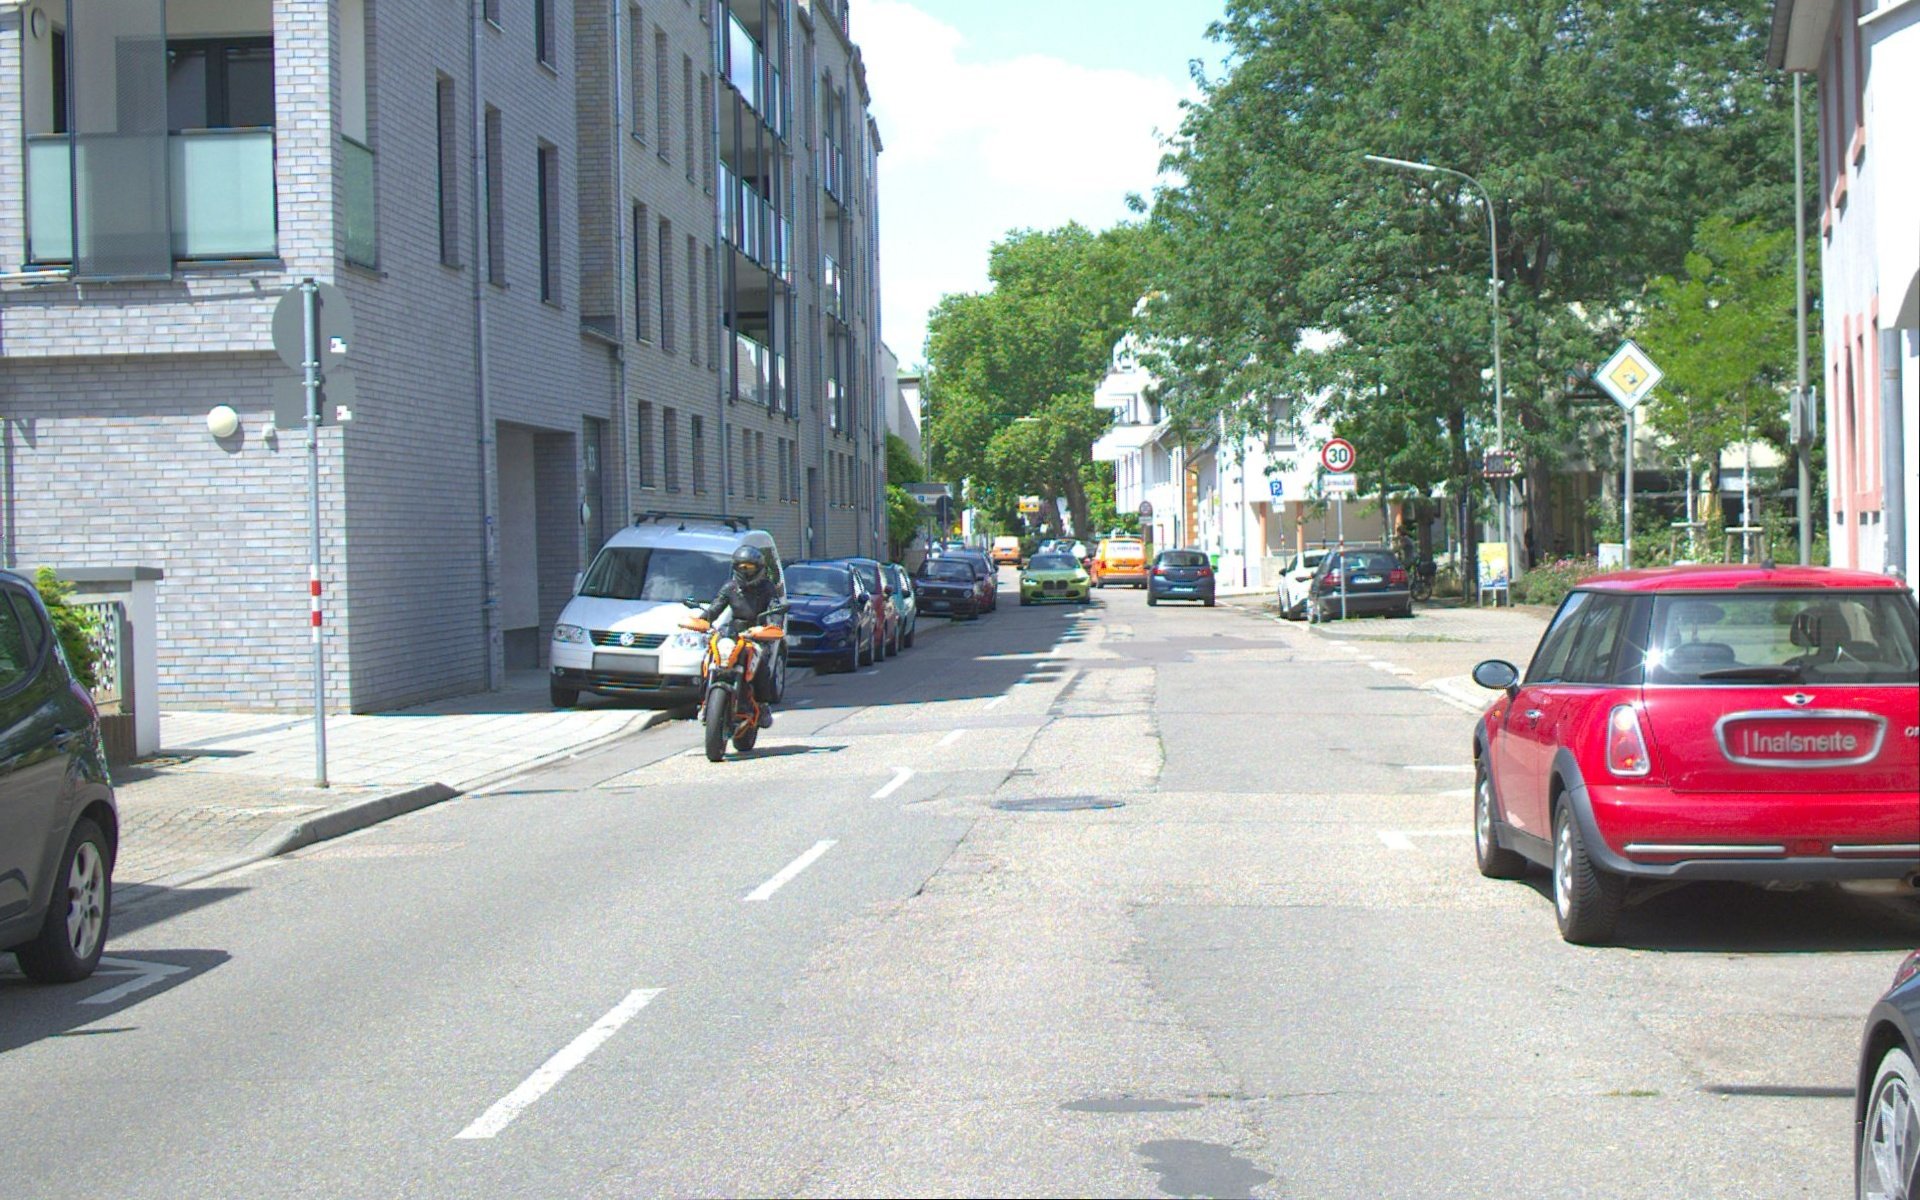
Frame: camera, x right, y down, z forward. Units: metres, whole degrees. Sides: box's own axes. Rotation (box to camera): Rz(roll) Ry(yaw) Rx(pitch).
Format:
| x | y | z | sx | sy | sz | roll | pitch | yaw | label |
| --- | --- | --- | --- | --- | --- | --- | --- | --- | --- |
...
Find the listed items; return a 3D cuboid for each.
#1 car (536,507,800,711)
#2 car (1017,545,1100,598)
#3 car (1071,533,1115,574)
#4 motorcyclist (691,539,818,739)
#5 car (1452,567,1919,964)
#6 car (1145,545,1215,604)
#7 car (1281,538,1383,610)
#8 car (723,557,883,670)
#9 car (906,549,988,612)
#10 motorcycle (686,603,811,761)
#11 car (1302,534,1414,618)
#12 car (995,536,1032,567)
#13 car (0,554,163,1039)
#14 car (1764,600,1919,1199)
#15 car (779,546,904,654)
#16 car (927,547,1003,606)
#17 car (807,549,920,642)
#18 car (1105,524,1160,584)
| x | y | z | sx | sy | sz | roll | pitch | yaw | label |
| --- | --- | --- | --- | --- | --- | --- | --- | --- | --- |
| -2.854 | 0.033 | 34.477 | 1.757 | 1.885 | 4.335 | 1 | 1 | 7 | car |
| 2.720 | -0.797 | 94.000 | 1.994 | 1.376 | 4.392 | 1 | 1 | 5 | car |
| 5.488 | -1.916 | 142.236 | 1.711 | 1.628 | 3.704 | -1 | 1 | 1 | car |
| -1.590 | 0.290 | 26.760 | 0.822 | 1.504 | 1.057 | -2 | 1 | 4 | motorcyclist |
| 3.071 | 0.584 | 14.220 | 1.618 | 1.381 | 3.539 | -1 | 1 | 1 | car |
| 5.655 | -0.677 | 88.480 | 1.715 | 1.397 | 4.000 | -1 | 1 | 3 | car |
| 7.627 | -0.551 | 70.793 | 1.779 | 1.415 | 4.000 | -1 | 1 | 2 | car |
| -2.094 | 0.149 | 46.925 | 1.723 | 1.451 | 4.005 | 0 | 1 | 4 | car |
| -0.287 | -0.490 | 82.152 | 1.732 | 1.437 | 4.000 | -1 | 1 | 2 | car |
| -1.629 | 0.616 | 26.743 | 0.688 | 1.118 | 2.027 | -2 | 1 | 4 | motorcycle |
| 7.436 | -0.471 | 64.498 | 1.692 | 1.415 | 4.000 | -4 | 1 | 2 | car |
| 3.584 | -3.248 | 228.276 | 2.157 | 2.007 | 4.000 | -1 | 1 | 4 | car |
| -4.168 | 0.675 | 11.632 | 1.795 | 1.641 | 3.944 | 0 | 1 | 4 | car |
| 2.352 | 0.733 | 4.235 | 1.729 | 1.415 | 4.545 | -1 | 1 | 1 | car |
| -1.765 | -0.031 | 52.059 | 1.591 | 1.548 | 3.571 | -1 | 1 | 3 | car |
| 0.152 | -0.615 | 87.210 | 1.732 | 1.437 | 4.000 | -1 | 1 | 2 | car |
| -1.552 | -0.094 | 56.309 | 1.591 | 1.451 | 3.703 | 0 | 1 | 3 | car |
| 6.085 | -1.641 | 120.845 | 1.839 | 2.007 | 4.000 | -1 | 1 | 4 | car |
